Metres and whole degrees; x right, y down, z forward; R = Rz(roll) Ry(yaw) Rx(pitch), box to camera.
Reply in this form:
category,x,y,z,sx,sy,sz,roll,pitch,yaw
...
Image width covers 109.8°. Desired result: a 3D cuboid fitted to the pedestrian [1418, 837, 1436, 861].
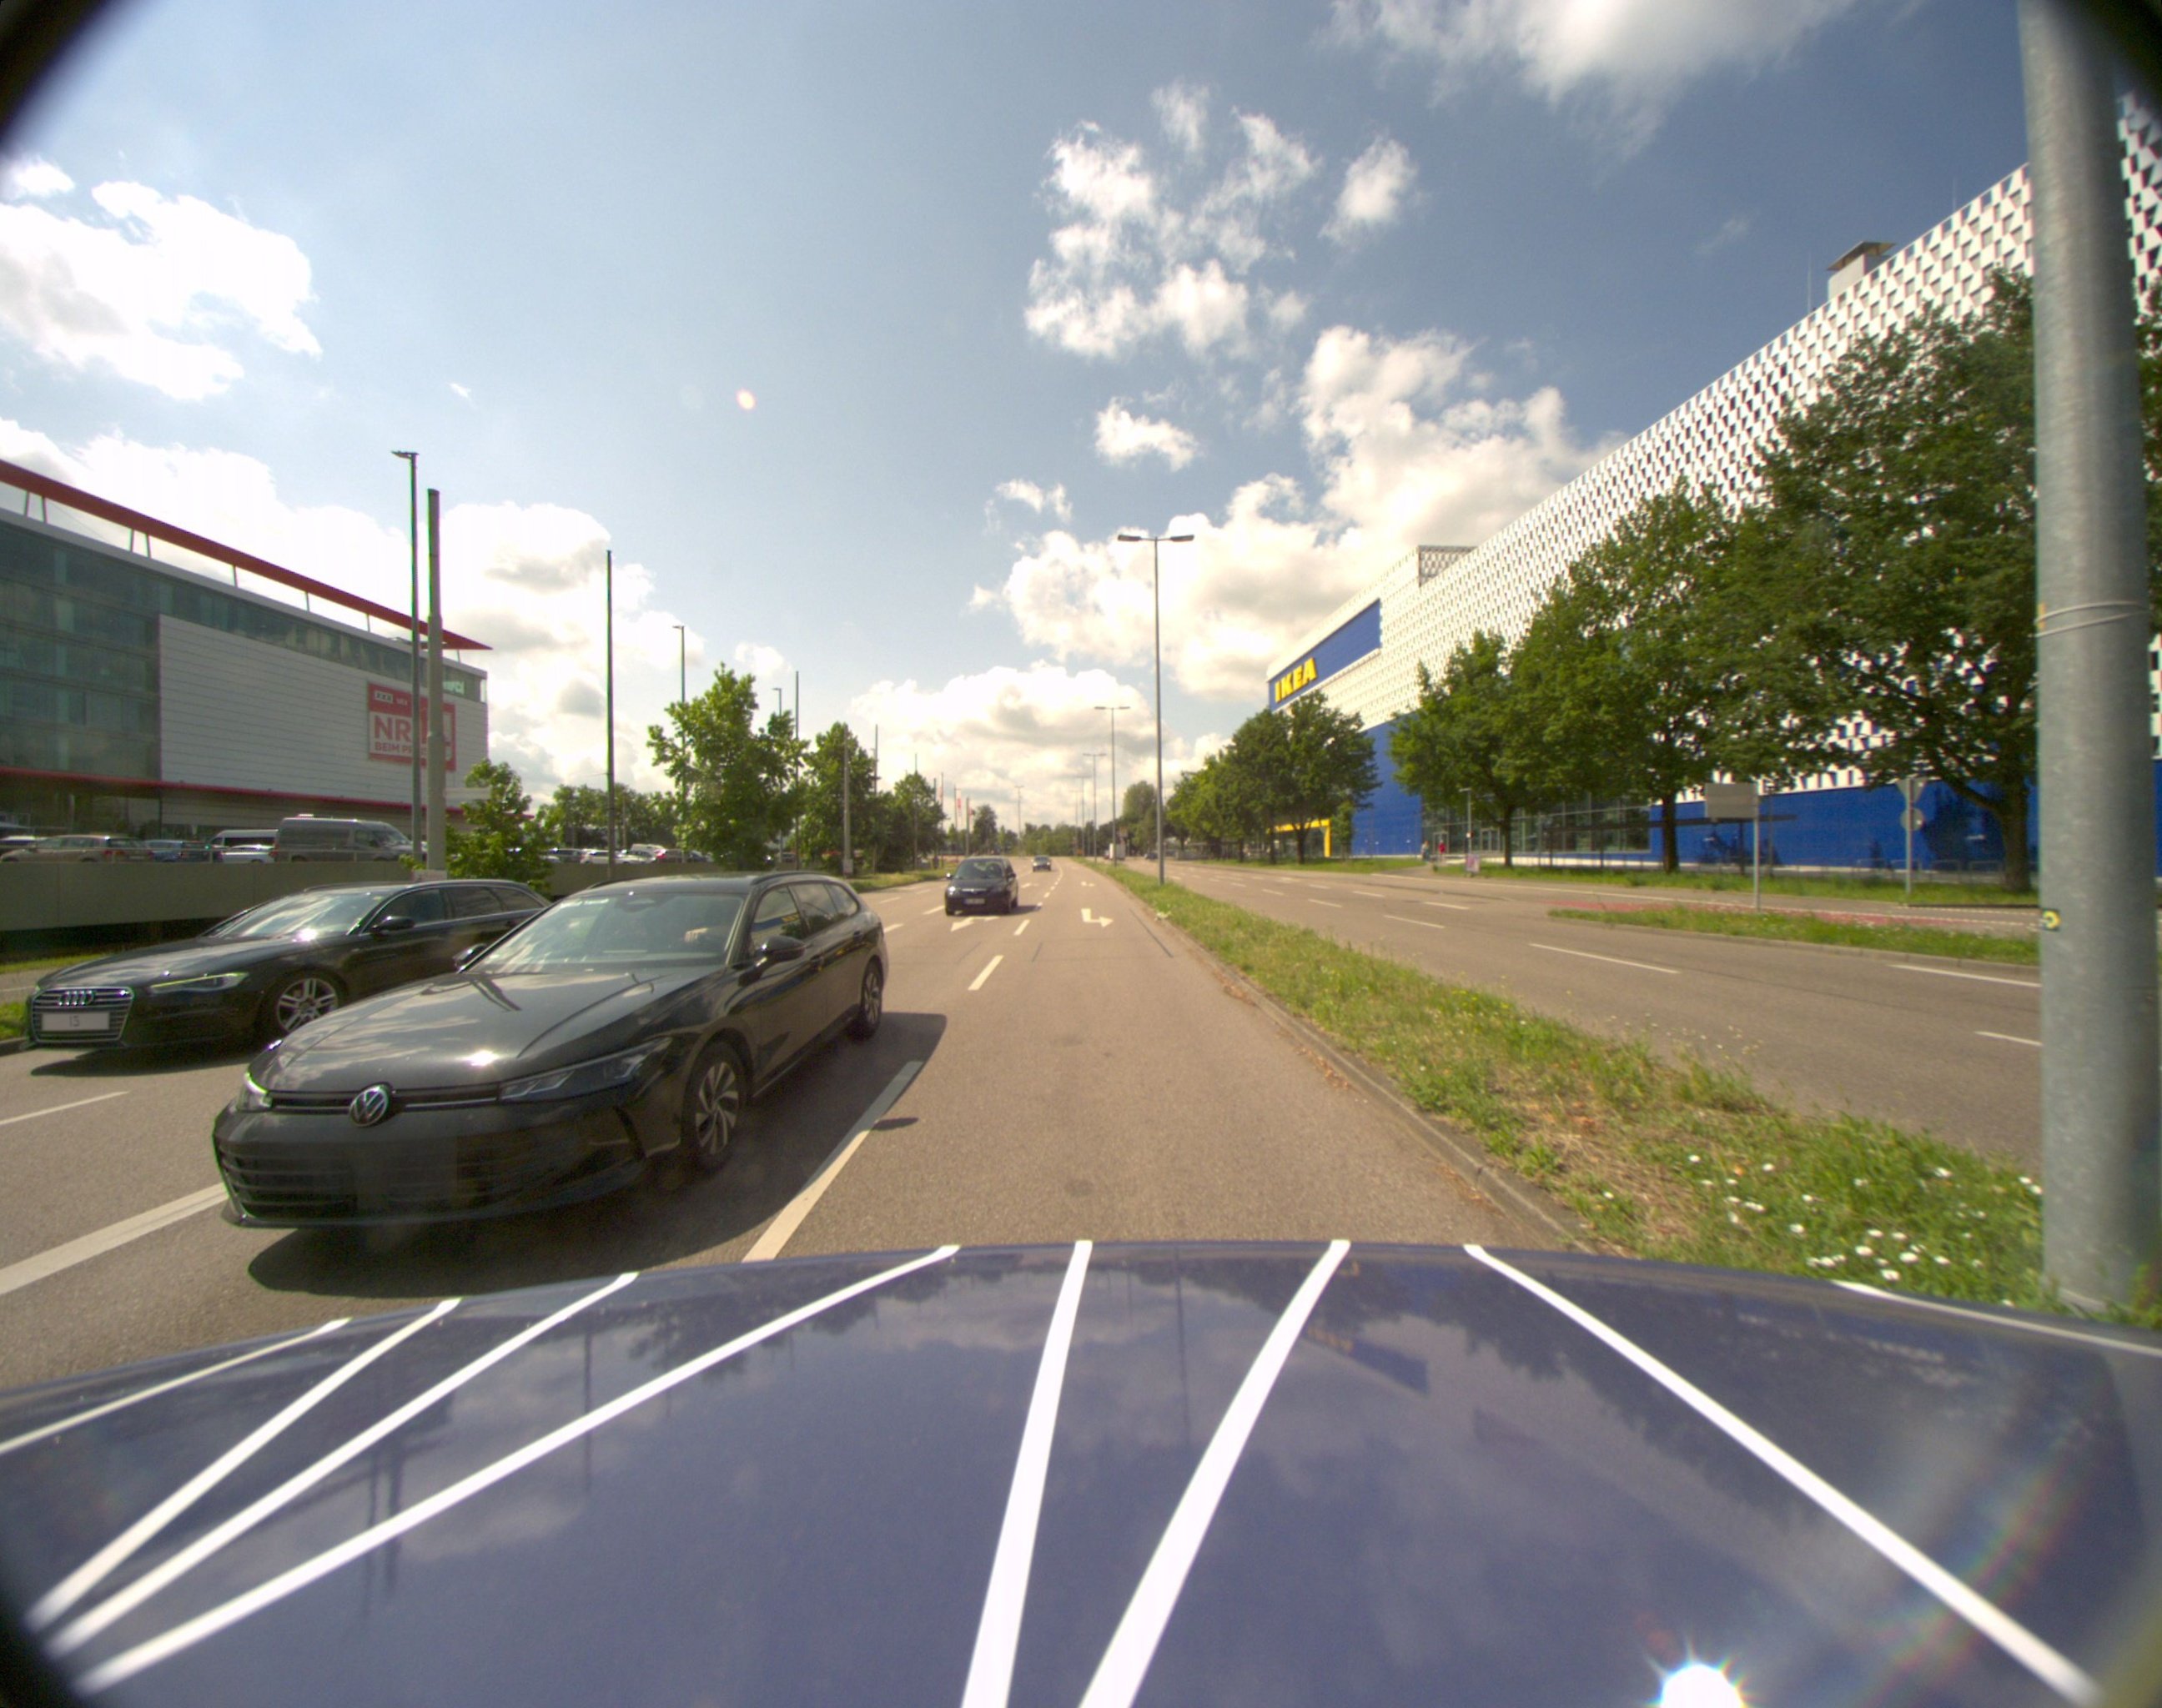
category,x,y,z,sx,sy,sz,roll,pitch,yaw
pedestrian,26.160,-0.390,57.432,0.854,1.718,1.164,-2,2,2

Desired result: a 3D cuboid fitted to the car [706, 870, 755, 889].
category,x,y,z,sx,sy,sz,roll,pitch,yaw
car,-38.286,2.781,83.057,4.421,1.754,1.559,-2,1,-3

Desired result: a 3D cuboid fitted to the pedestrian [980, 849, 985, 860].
category,x,y,z,sx,sy,sz,roll,pitch,yaw
pedestrian,-16.662,0.124,128.702,0.527,1.803,0.676,-3,2,-23

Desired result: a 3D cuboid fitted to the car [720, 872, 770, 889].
category,x,y,z,sx,sy,sz,roll,pitch,yaw
car,-35.508,2.764,80.359,4.420,1.596,1.954,-2,1,-1

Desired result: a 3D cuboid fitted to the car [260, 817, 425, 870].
category,x,y,z,sx,sy,sz,roll,pitch,yaw
car,-35.138,-0.506,36.287,5.796,2.270,1.748,-2,2,-3

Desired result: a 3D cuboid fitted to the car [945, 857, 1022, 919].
category,x,y,z,sx,sy,sz,roll,pitch,yaw
car,-2.613,0.857,21.193,1.606,1.521,4.269,-1,0,-1

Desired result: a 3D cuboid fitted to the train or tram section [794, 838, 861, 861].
category,x,y,z,sx,sy,sz,roll,pitch,yaw
train or tram section,-55.289,-1.044,165.858,13.099,4.535,3.730,-2,1,-2

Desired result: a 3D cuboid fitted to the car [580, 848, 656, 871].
category,x,y,z,sx,sy,sz,roll,pitch,yaw
car,-34.462,0.413,56.635,4.420,1.596,1.954,-2,1,-1

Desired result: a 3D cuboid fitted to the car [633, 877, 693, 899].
category,x,y,z,sx,sy,sz,roll,pitch,yaw
car,-37.701,3.042,68.627,4.421,1.754,1.559,-2,1,-3

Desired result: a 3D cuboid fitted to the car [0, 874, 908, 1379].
category,x,y,z,sx,sy,sz,roll,pitch,yaw
car,-2.685,0.984,5.152,1.813,1.469,5.203,-2,1,0

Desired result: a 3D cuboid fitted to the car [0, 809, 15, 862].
category,x,y,z,sx,sy,sz,roll,pitch,yaw
car,-37.801,-0.513,24.548,4.184,1.740,1.917,-2,1,4

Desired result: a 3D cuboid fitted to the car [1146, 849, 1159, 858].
category,x,y,z,sx,sy,sz,roll,pitch,yaw
car,13.182,-0.099,140.017,1.941,1.674,3.999,-2,1,0

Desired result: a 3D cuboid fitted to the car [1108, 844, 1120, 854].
category,x,y,z,sx,sy,sz,roll,pitch,yaw
car,5.929,-0.927,136.205,1.941,1.674,3.999,-2,1,0

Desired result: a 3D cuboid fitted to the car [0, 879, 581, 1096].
category,x,y,z,sx,sy,sz,roll,pitch,yaw
car,-7.946,1.130,8.301,1.778,1.469,4.678,-1,1,1

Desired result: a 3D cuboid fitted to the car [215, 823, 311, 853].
category,x,y,z,sx,sy,sz,roll,pitch,yaw
car,-53.269,-1.039,49.552,3.997,1.740,1.916,-2,1,-1

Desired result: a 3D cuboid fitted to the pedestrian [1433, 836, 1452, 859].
category,x,y,z,sx,sy,sz,roll,pitch,yaw
pedestrian,27.285,-0.490,57.321,0.854,1.718,1.164,-2,2,2

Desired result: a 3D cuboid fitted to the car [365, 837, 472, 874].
category,x,y,z,sx,sy,sz,roll,pitch,yaw
car,-34.804,0.070,39.984,3.997,1.784,1.749,-2,1,1

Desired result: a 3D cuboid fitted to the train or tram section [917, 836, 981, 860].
category,x,y,z,sx,sy,sz,roll,pitch,yaw
train or tram section,-28.939,-1.368,167.032,13.099,4.646,3.730,-2,1,-2

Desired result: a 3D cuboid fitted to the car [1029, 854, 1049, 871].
category,x,y,z,sx,sy,sz,roll,pitch,yaw
car,-3.934,0.768,71.536,1.606,1.521,4.269,-1,0,-1

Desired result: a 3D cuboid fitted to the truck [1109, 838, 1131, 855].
category,x,y,z,sx,sy,sz,roll,pitch,yaw
truck,6.464,-1.258,126.757,2.973,2.736,5.782,-2,1,-2

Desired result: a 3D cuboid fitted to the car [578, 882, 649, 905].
category,x,y,z,sx,sy,sz,roll,pitch,yaw
car,-37.736,3.178,61.409,4.421,1.596,1.954,-2,1,-2

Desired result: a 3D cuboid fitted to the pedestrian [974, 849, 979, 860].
category,x,y,z,sx,sy,sz,roll,pitch,yaw
pedestrian,-17.679,0.099,128.608,0.705,1.803,0.544,-3,2,-31

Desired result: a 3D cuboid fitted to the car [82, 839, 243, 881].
category,x,y,z,sx,sy,sz,roll,pitch,yaw
car,-38.785,0.241,32.167,4.420,1.596,1.955,-2,1,1

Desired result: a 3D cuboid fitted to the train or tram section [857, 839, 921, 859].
category,x,y,z,sx,sy,sz,roll,pitch,yaw
train or tram section,-42.046,-1.158,166.461,13.099,4.346,3.730,0,1,-2

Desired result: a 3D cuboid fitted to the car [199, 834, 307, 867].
category,x,y,z,sx,sy,sz,roll,pitch,yaw
car,-48.261,-0.199,44.346,3.997,1.740,1.916,-2,1,-1

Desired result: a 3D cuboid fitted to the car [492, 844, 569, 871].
category,x,y,z,sx,sy,sz,roll,pitch,yaw
car,-40.805,0.235,56.385,4.421,1.754,1.559,-2,1,-3

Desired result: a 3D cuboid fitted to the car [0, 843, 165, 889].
category,x,y,z,sx,sy,sz,roll,pitch,yaw
car,-38.720,0.453,29.237,4.420,1.596,1.954,-2,1,-1
